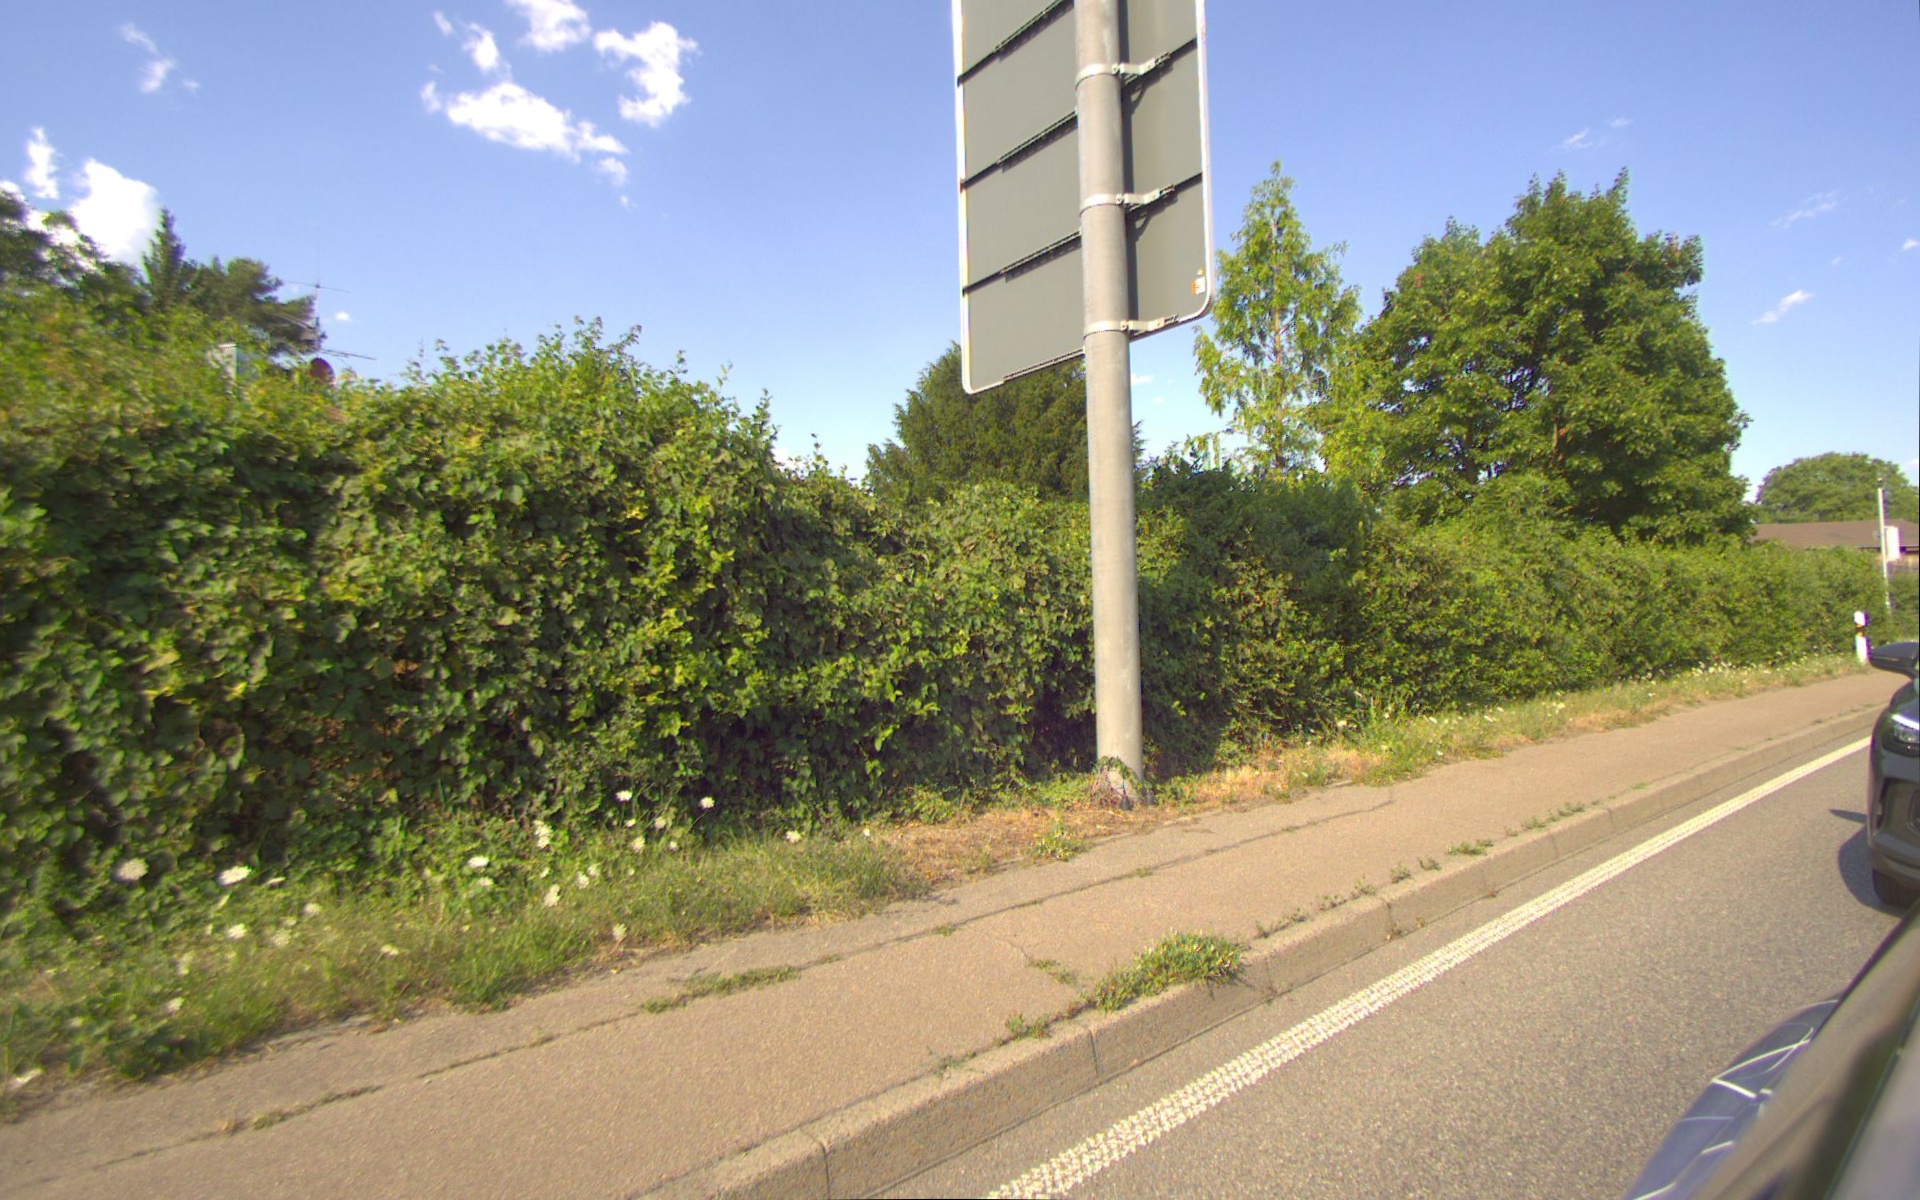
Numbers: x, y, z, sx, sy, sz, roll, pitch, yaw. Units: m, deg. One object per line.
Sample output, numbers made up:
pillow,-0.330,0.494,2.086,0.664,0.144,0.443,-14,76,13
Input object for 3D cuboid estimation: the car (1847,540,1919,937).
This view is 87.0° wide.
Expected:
car,5.955,0.549,4.971,3.931,1.662,1.865,-2,2,-41
